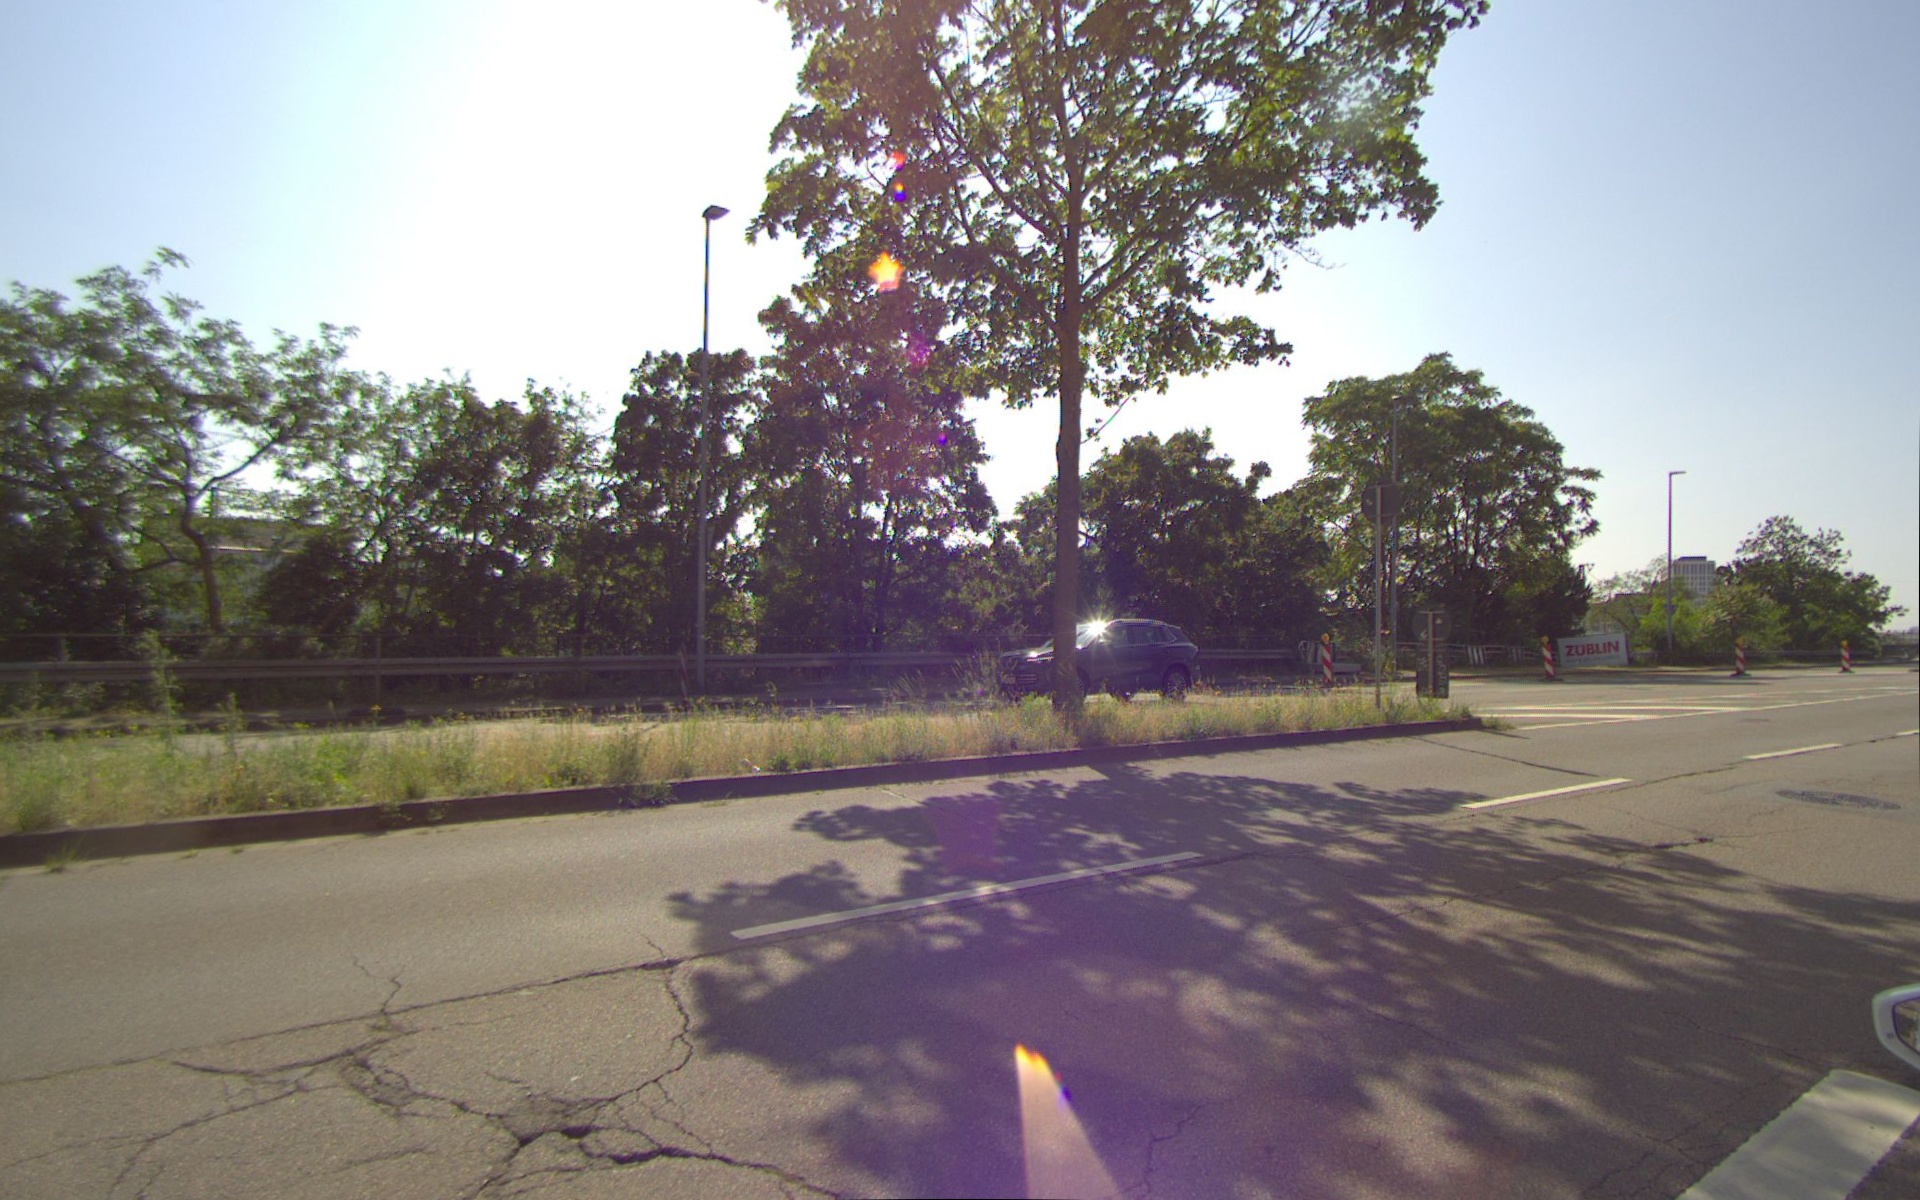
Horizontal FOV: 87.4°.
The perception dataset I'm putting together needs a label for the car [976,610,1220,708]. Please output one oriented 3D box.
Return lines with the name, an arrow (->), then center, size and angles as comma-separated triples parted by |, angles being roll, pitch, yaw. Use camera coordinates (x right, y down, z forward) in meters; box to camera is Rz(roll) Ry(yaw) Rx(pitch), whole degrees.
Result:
car -> 2.820, 1.125, 20.103 | 4.678, 1.757, 1.982 | 2, -1, -33
